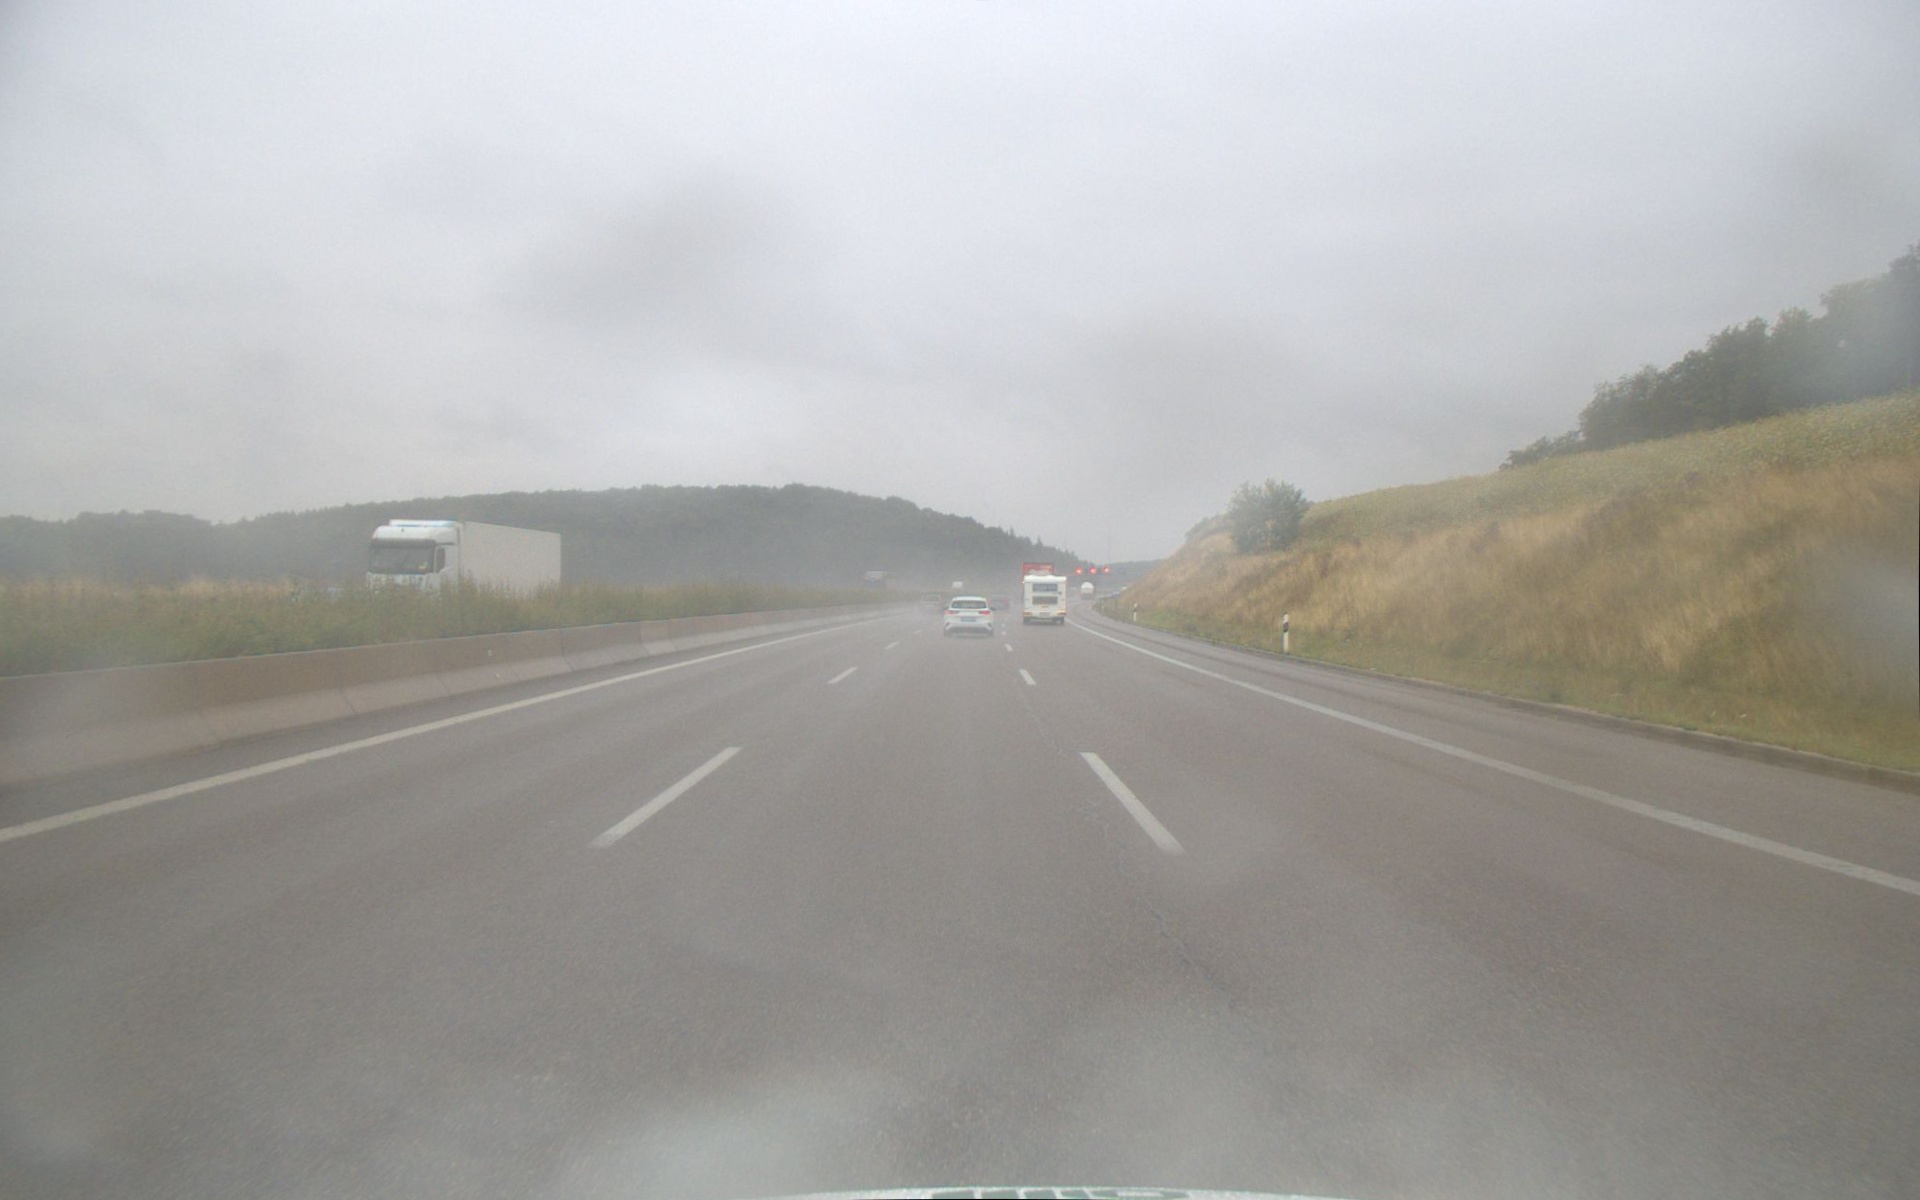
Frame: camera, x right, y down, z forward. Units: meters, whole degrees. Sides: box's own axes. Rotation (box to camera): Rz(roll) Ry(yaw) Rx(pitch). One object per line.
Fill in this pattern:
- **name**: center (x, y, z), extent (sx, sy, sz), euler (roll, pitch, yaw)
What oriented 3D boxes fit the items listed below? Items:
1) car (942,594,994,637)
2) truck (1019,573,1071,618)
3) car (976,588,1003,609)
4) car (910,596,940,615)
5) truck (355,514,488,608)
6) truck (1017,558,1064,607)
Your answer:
- **car**: center (0.311, 0.561, 59.956), extent (1.829, 1.488, 4.000), euler (0, -1, 1)
- **truck**: center (4.469, -0.222, 87.407), extent (2.359, 2.292, 4.691), euler (0, 0, -2)
- **car**: center (2.407, -0.122, 136.302), extent (1.954, 1.646, 3.997), euler (0, 0, -4)
- **car**: center (-2.319, 0.356, 109.198), extent (1.788, 1.177, 4.209), euler (1, -1, -4)
- **truck**: center (-19.249, -1.340, 59.452), extent (2.931, 3.178, 5.596), euler (1, 0, 0)
- **truck**: center (6.680, -1.469, 135.429), extent (3.453, 3.808, 11.433), euler (1, 1, 5)
